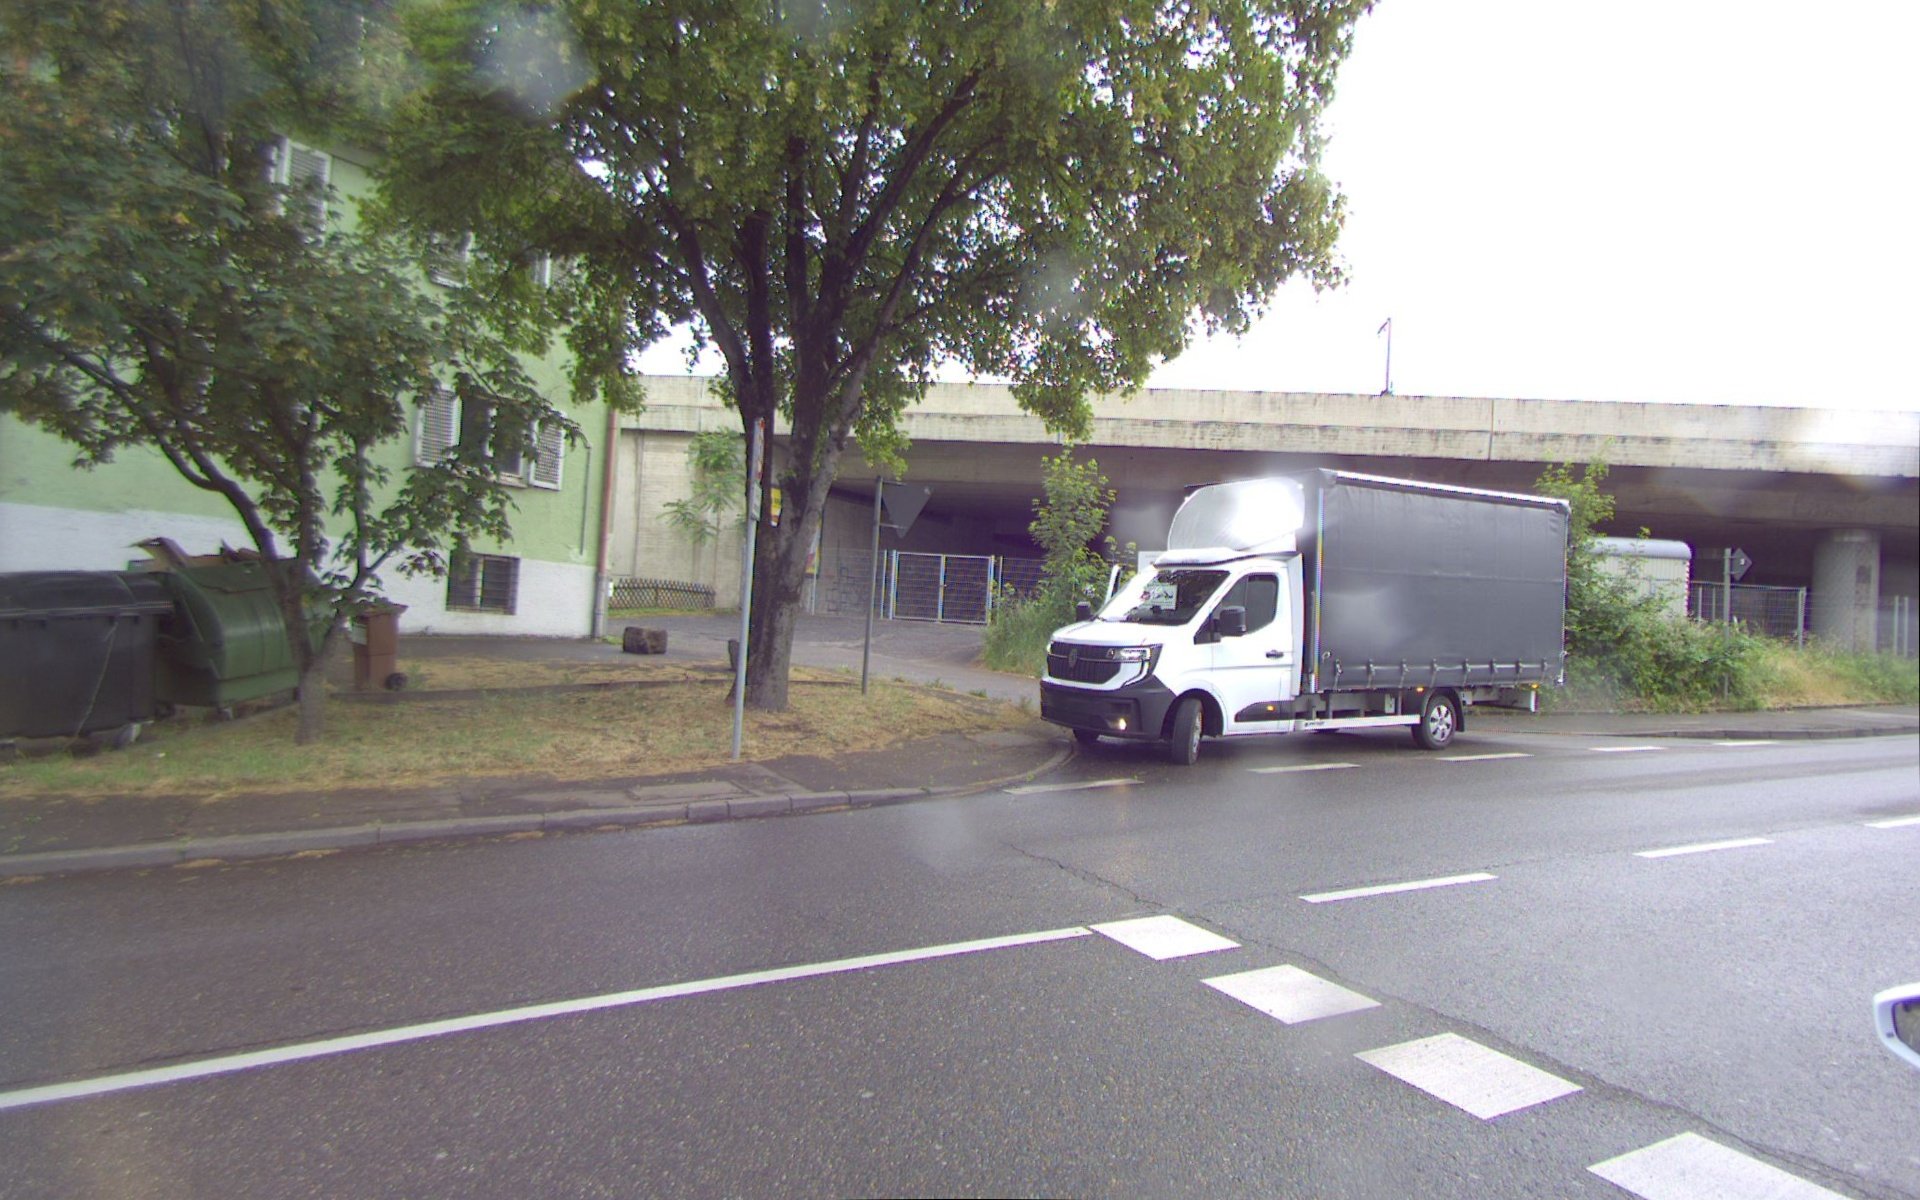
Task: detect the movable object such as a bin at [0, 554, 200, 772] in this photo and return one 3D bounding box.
[{"bbox_3d":[-7.308,0.420,8.055,1.268,1.457,1.463,5,5,13],"label":"movable object such as a bin"}]

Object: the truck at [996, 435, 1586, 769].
[{"bbox_3d":[4.450,0.178,12.855,7.681,3.279,2.599,3,-1,-29],"label":"truck"}]

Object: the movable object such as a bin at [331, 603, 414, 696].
[{"bbox_3d":[-6.365,0.534,10.902,0.715,0.970,0.554,3,-1,-30],"label":"movable object such as a bin"}]

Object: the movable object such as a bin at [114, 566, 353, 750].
[{"bbox_3d":[-6.741,0.473,9.420,1.078,1.457,1.463,5,5,13],"label":"movable object such as a bin"}]
